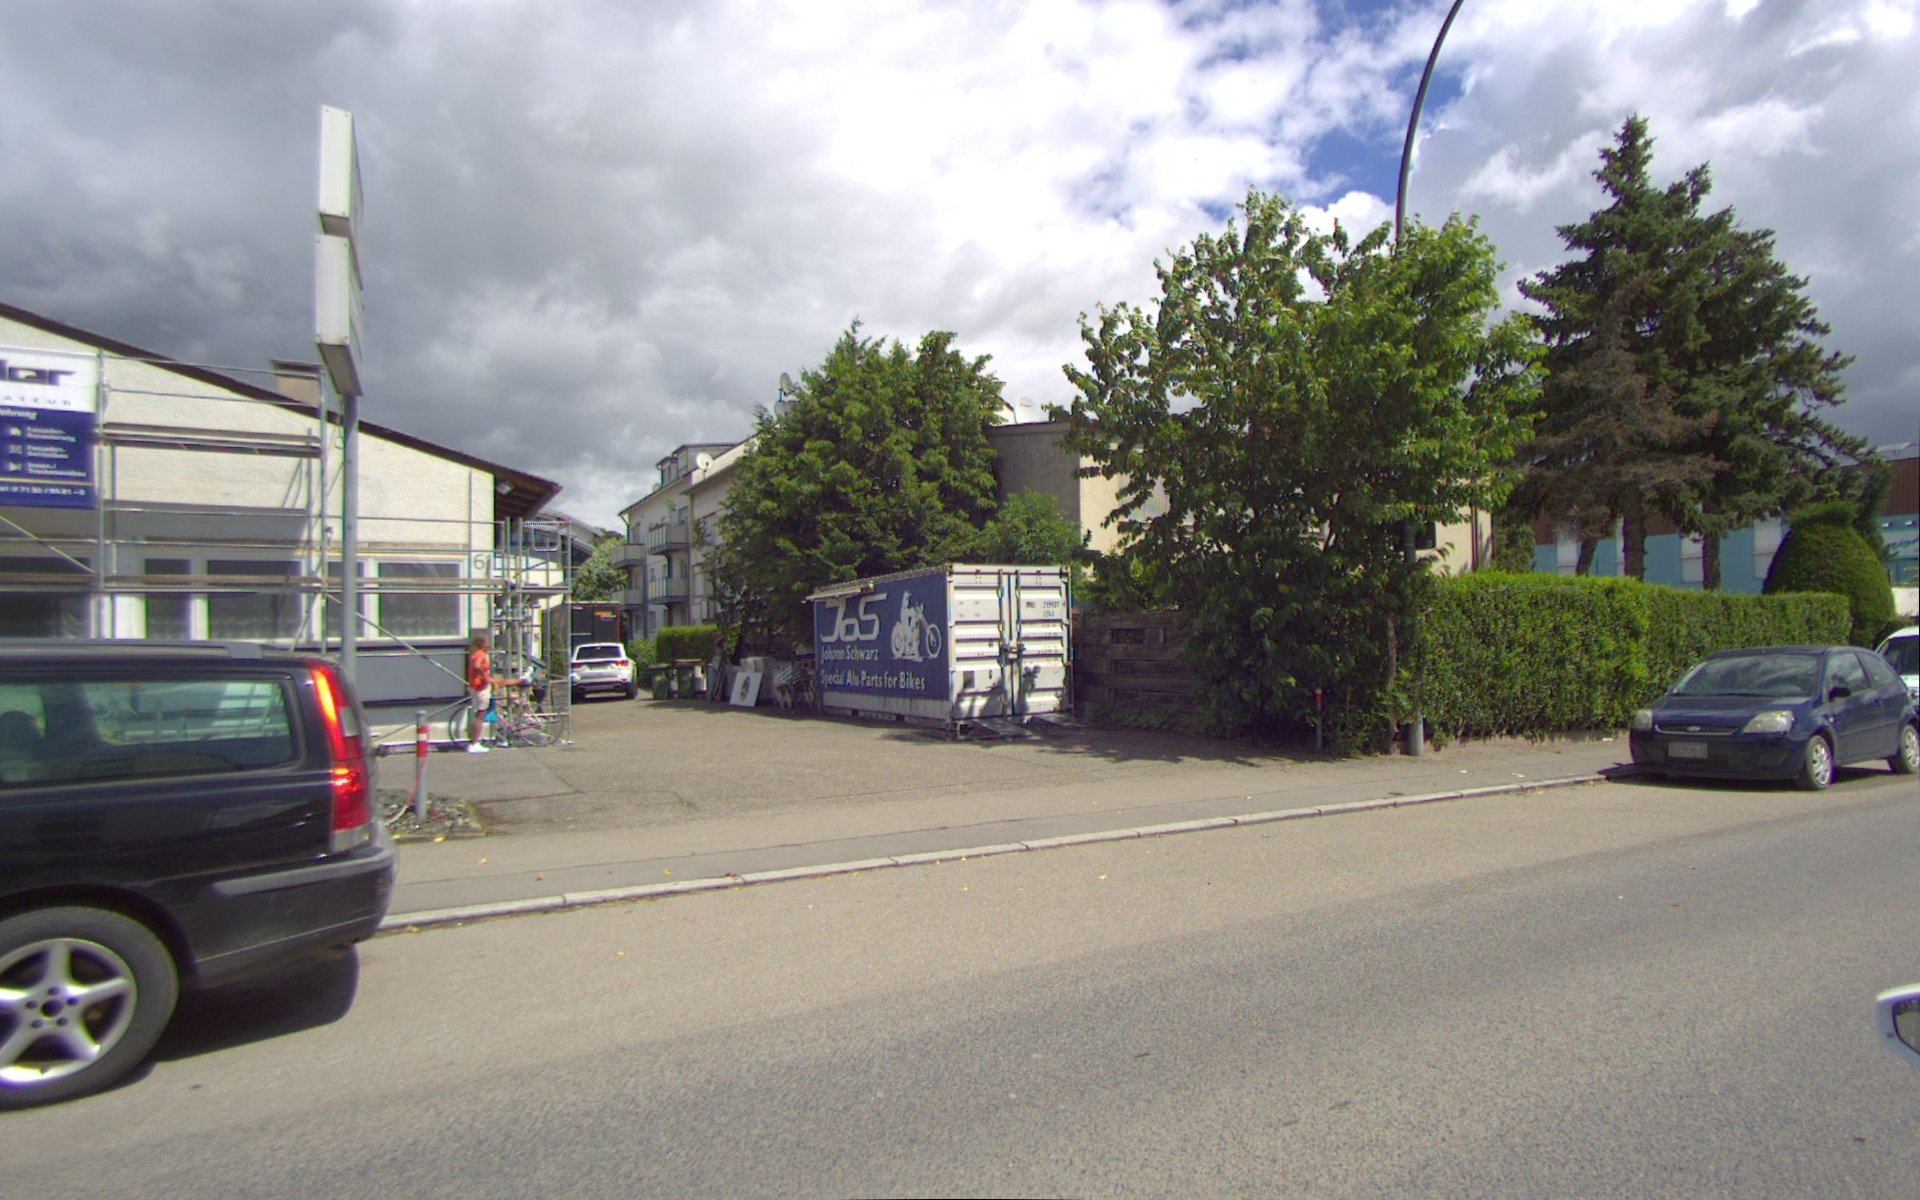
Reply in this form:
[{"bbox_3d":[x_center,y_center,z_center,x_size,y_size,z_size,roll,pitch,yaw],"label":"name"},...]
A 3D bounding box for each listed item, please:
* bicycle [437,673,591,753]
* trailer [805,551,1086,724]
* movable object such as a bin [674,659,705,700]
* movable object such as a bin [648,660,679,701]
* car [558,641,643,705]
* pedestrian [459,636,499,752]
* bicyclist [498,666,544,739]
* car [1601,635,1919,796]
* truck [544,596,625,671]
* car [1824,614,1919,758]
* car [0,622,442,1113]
[{"bbox_3d":[-6.938,1.736,15.695,2.159,1.100,0.468,1,0,-31],"label":"bicycle"},{"bbox_3d":[-0.573,0.803,19.013,2.699,2.686,6.216,1,-4,-29],"label":"trailer"},{"bbox_3d":[-8.072,2.358,29.978,0.745,1.157,0.604,1,1,-31],"label":"movable object such as a bin"},{"bbox_3d":[-8.722,2.361,29.571,0.745,1.157,0.604,1,1,-31],"label":"movable object such as a bin"},{"bbox_3d":[-11.332,2.264,31.507,1.974,1.750,3.974,-3,-2,-27],"label":"car"},{"bbox_3d":[-7.126,1.381,14.871,0.491,1.669,0.521,1,-3,-30],"label":"pedestrian"},{"bbox_3d":[-6.872,1.585,15.726,0.603,1.075,0.477,1,1,-30],"label":"bicyclist"},{"bbox_3d":[9.167,1.206,11.343,3.955,1.506,1.632,1,-5,-32],"label":"car"},{"bbox_3d":[-19.230,1.601,51.258,2.773,3.546,6.172,1,0,-31],"label":"truck"},{"bbox_3d":[14.205,1.146,14.172,4.306,1.861,1.735,1,-5,-32],"label":"car"},{"bbox_3d":[-4.370,0.851,3.251,4.683,1.512,1.711,1,-3,-32],"label":"car"}]
